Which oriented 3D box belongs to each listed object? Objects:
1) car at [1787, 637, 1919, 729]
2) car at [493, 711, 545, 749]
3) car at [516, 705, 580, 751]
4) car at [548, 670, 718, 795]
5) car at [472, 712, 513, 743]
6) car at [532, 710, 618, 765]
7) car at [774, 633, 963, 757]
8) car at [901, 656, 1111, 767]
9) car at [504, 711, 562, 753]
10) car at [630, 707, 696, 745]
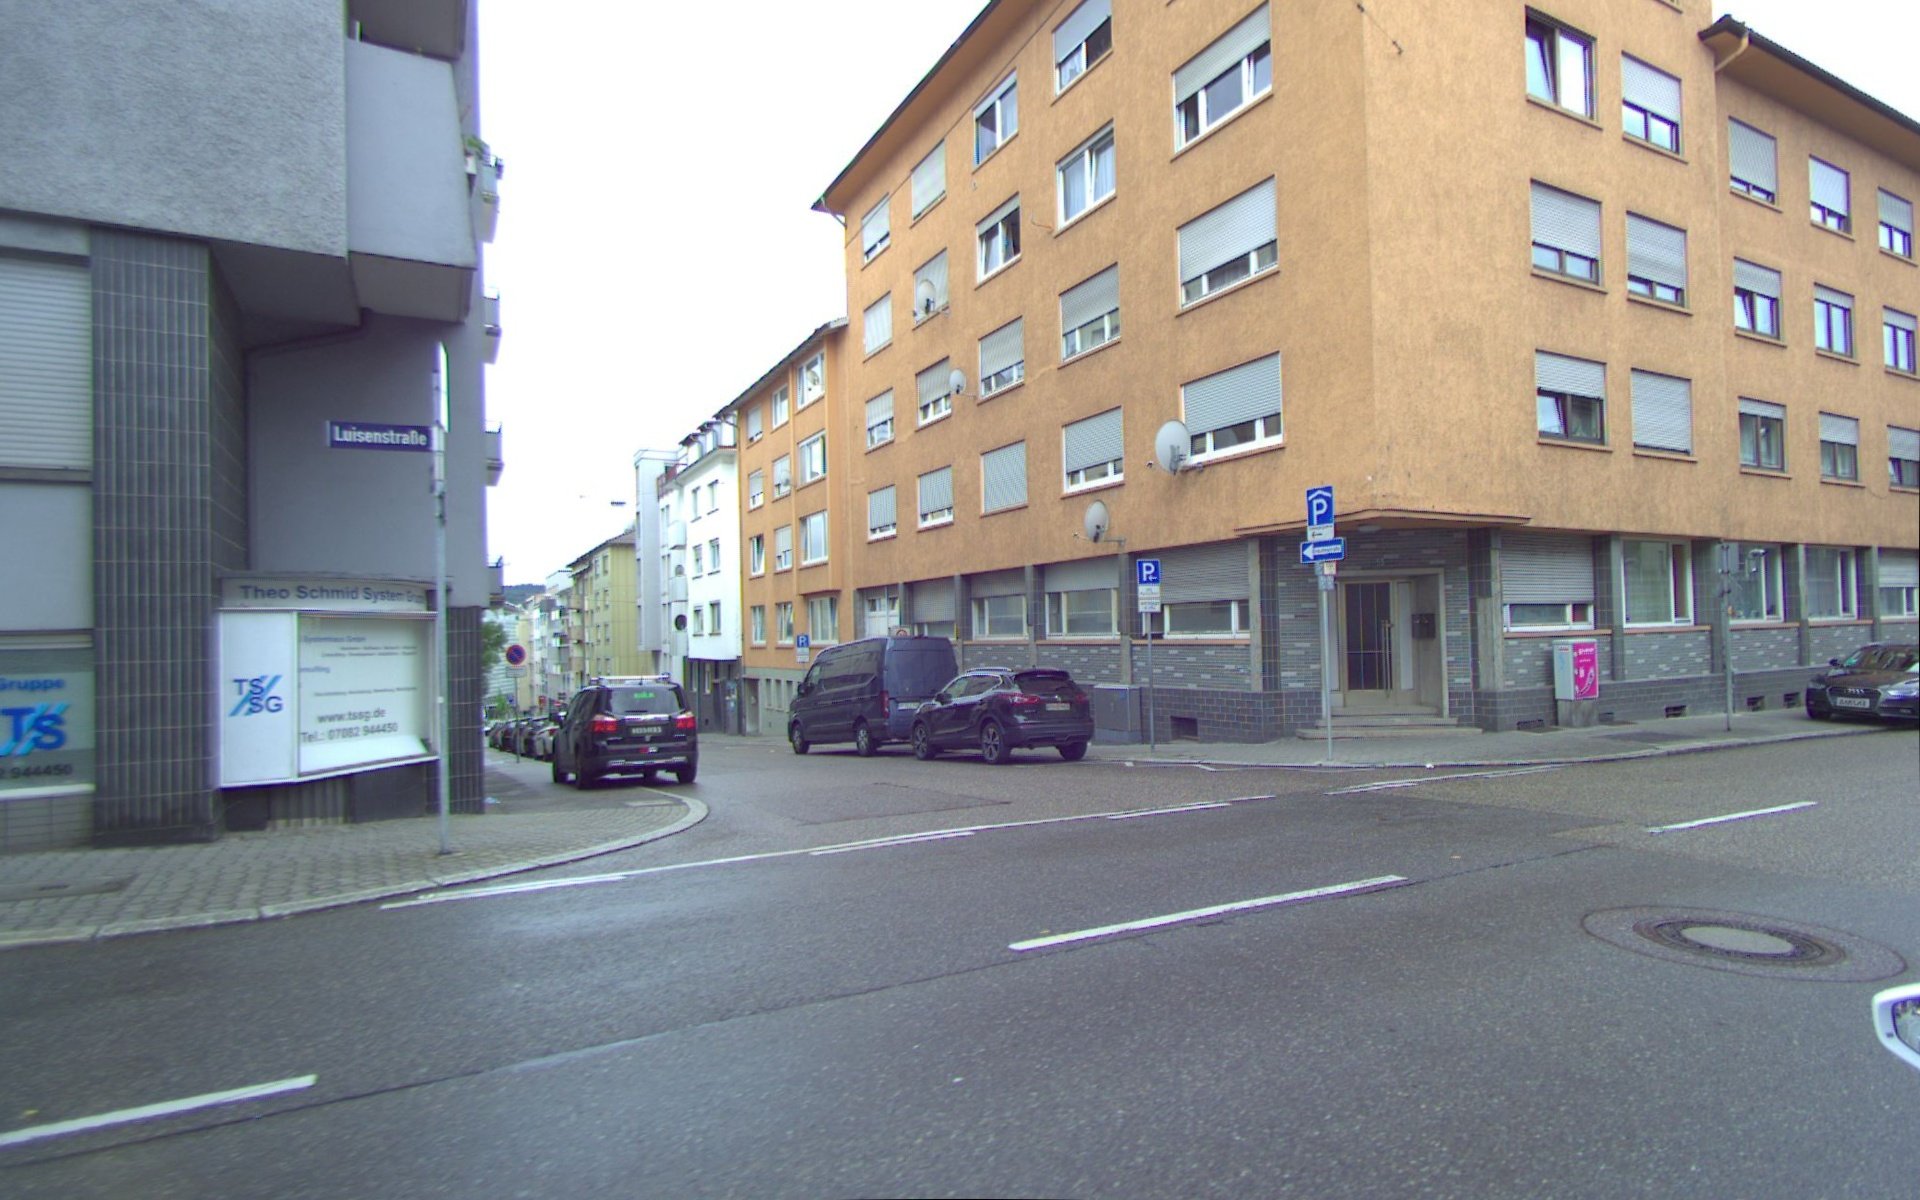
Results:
[{"bbox_3d":[17.831,1.486,19.098,4.497,1.478,1.882,0,-1,-31],"label":"car"},{"bbox_3d":[-19.335,5.663,43.988,1.694,1.478,3.534,0,-6,-30],"label":"car"},{"bbox_3d":[-14.879,4.594,36.170,1.694,1.478,3.534,0,-6,-30],"label":"car"},{"bbox_3d":[-5.579,2.167,16.805,1.907,1.739,3.971,0,-6,-30],"label":"car"},{"bbox_3d":[-24.950,6.768,53.525,1.694,1.478,3.534,0,-6,-30],"label":"car"},{"bbox_3d":[-12.098,4.267,31.405,1.907,1.478,3.971,0,-6,-30],"label":"car"},{"bbox_3d":[-2.262,2.206,22.997,1.962,2.490,5.313,1,-6,-34],"label":"car"},{"bbox_3d":[0.679,1.968,17.854,1.906,1.673,3.974,0,-6,-28],"label":"car"},{"bbox_3d":[-17.116,5.255,40.187,1.694,1.478,3.534,0,-6,-30],"label":"car"},{"bbox_3d":[-13.125,5.549,44.237,1.907,1.478,3.971,0,-6,-30],"label":"car"}]
